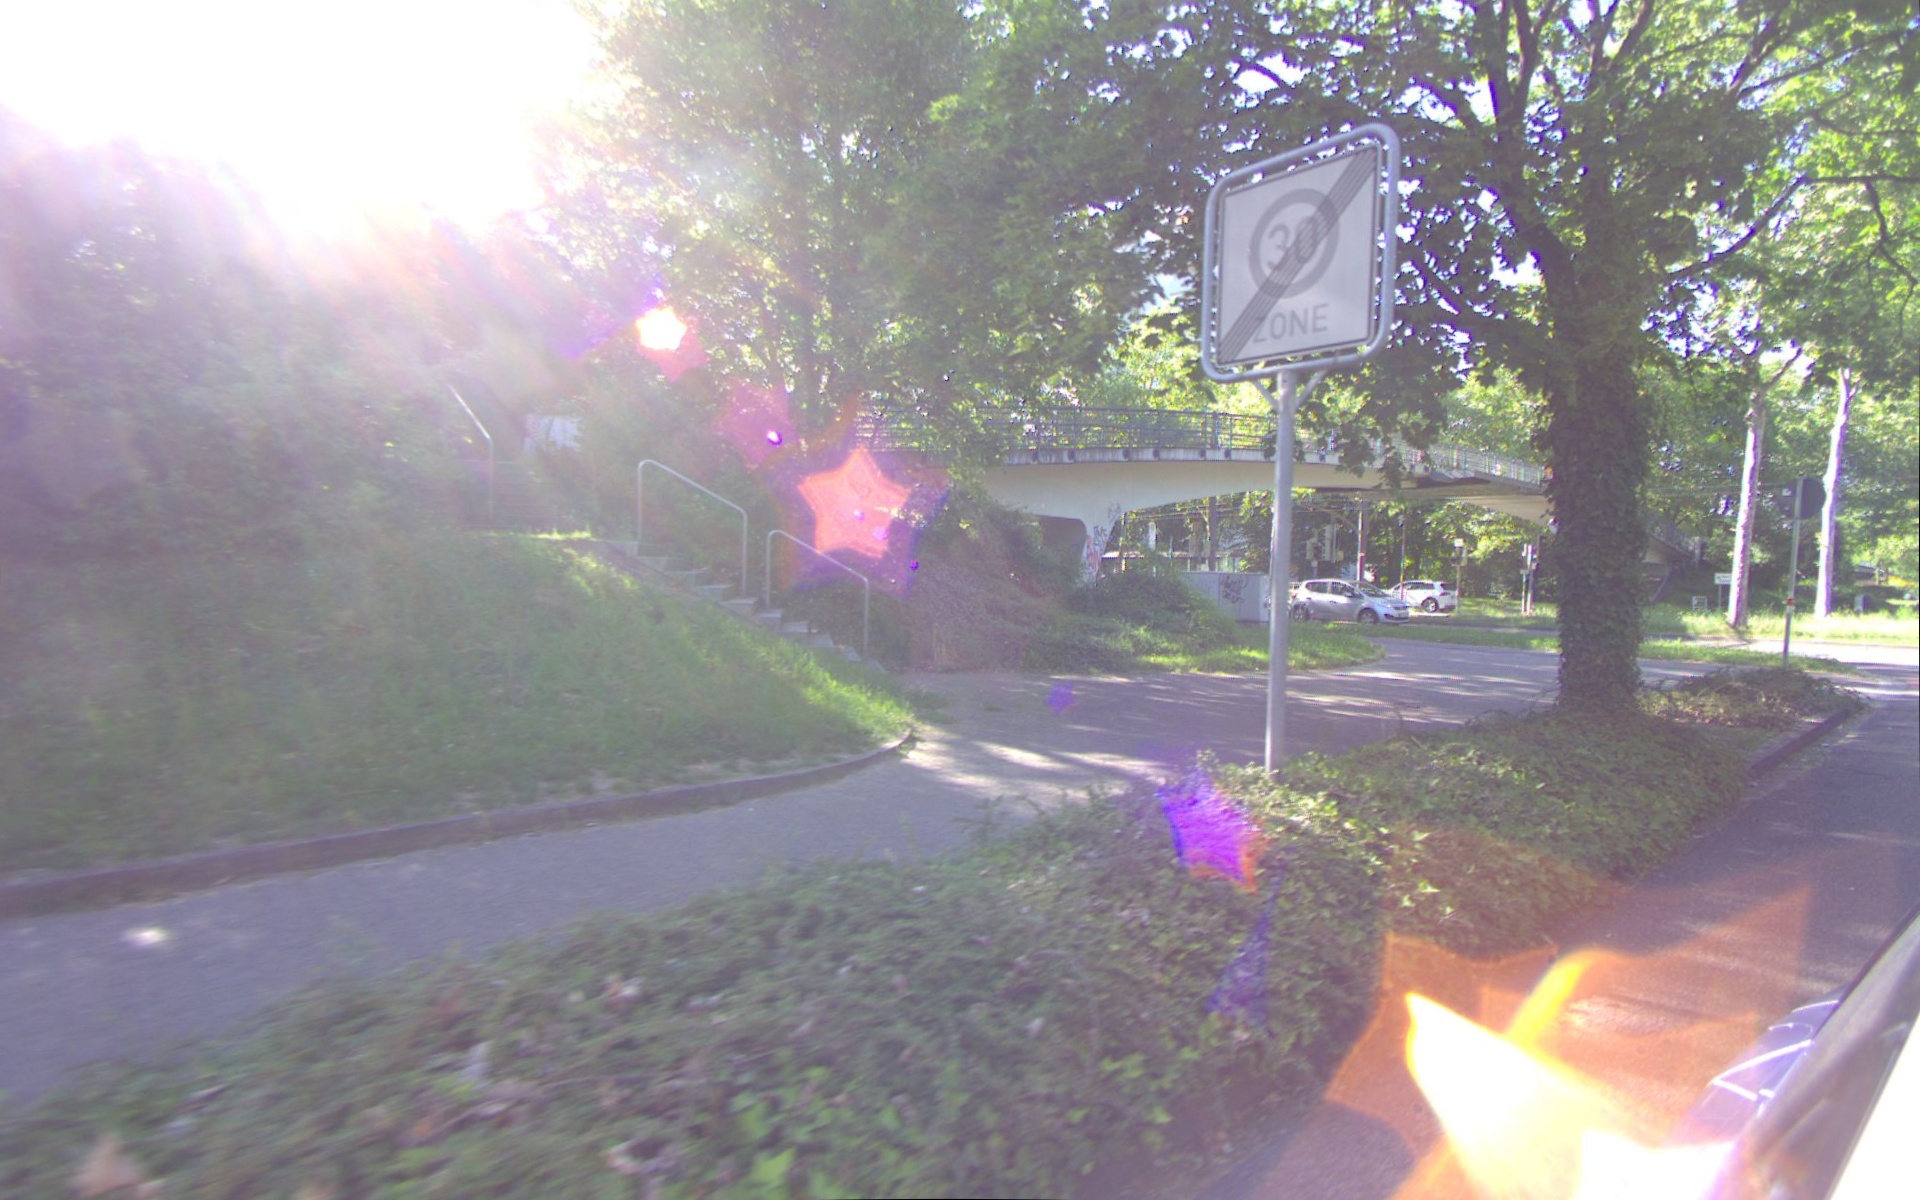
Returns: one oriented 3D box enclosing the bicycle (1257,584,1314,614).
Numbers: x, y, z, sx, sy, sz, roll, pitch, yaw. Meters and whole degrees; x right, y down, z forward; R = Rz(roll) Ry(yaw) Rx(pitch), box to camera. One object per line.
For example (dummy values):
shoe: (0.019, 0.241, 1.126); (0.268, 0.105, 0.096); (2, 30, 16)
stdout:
bicycle: (10.045, -0.041, 31.248); (0.451, 0.924, 1.717); (0, 1, -39)

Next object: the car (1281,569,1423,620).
car: (13.414, -0.204, 34.862); (1.688, 1.667, 4.331); (-1, 1, -38)

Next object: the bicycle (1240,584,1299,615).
bicycle: (9.408, -0.032, 30.835); (0.504, 0.924, 1.717); (0, 1, -39)

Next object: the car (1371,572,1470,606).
car: (23.505, -0.548, 51.764); (1.688, 1.667, 4.331); (-1, 1, -38)

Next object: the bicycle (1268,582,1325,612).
bicycle: (10.535, -0.091, 31.724); (0.451, 0.924, 1.717); (0, 1, -39)
